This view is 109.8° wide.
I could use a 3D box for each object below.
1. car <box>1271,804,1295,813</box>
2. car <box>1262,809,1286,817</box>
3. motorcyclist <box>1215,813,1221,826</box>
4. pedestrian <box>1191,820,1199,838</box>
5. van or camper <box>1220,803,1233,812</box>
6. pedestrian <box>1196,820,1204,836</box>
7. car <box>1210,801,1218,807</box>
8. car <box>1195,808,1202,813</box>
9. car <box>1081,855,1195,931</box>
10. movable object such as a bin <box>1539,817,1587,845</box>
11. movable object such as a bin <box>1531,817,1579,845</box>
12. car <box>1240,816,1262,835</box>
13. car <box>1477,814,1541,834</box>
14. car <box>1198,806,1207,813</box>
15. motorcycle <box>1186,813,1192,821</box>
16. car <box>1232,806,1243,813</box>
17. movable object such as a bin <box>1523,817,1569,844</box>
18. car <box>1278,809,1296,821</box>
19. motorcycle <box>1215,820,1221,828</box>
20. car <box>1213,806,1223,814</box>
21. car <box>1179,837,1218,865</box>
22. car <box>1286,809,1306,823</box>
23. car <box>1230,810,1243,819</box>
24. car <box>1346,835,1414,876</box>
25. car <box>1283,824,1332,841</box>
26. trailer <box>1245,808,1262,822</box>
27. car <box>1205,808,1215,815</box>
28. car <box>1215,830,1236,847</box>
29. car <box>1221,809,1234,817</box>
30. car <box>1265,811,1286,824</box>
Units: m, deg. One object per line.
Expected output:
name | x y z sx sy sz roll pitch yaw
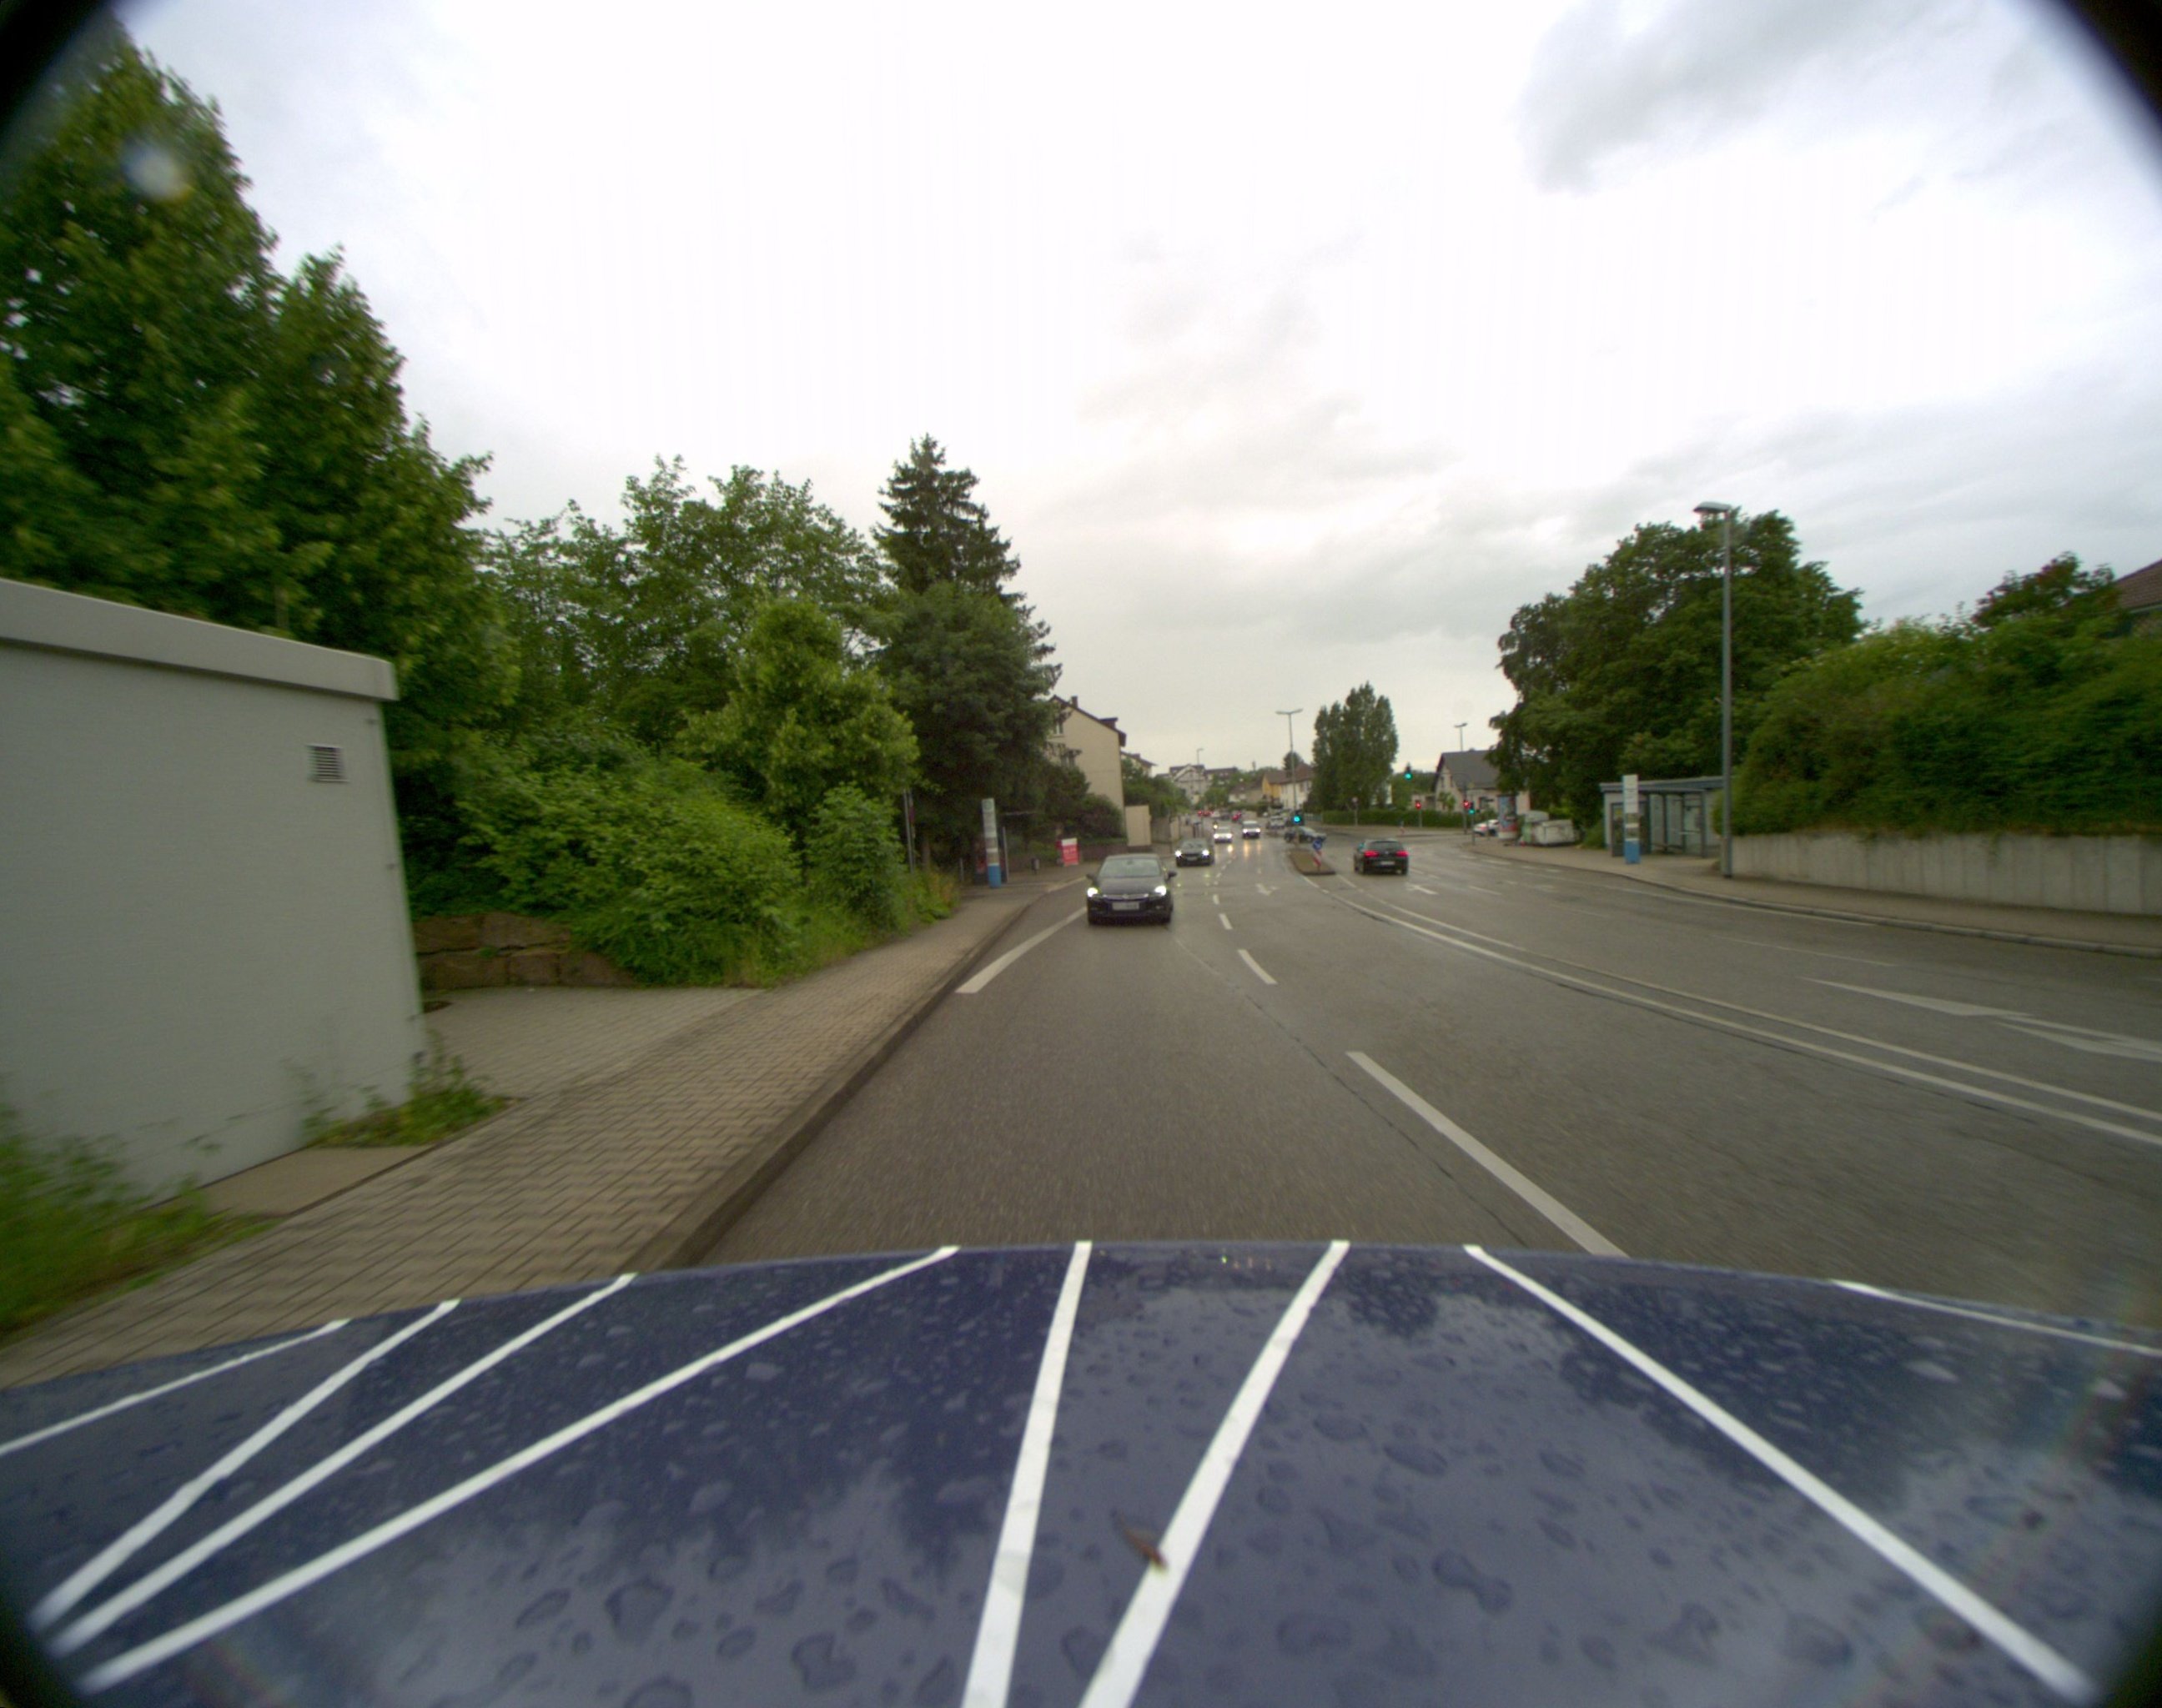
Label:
car | 38.228 -8.606 143.620 4.108 1.413 1.883 -4 4 5
car | 38.033 -8.012 149.627 4.110 1.476 1.839 1 4 -2
motorcyclist | 18.549 -4.665 103.065 0.761 1.594 0.808 -2 5 10
pedestrian | 12.996 -2.825 86.852 0.798 2.003 0.734 -3 5 11
van or camper | 34.481 -11.061 180.265 2.189 2.003 5.131 -3 5 3
pedestrian | 13.866 -3.069 88.621 0.795 1.771 1.011 -1 5 11
car | 41.098 -15.412 234.351 1.998 1.566 3.998 -3 5 5
car | 39.109 -14.572 253.135 1.836 1.522 3.998 -2 4 5
car | 1.409 0.779 16.983 1.838 1.390 4.003 -1 1 14
movable object such as a bin | 27.823 -1.319 43.888 2.060 1.506 1.345 -2 3 16
movable object such as a bin | 28.248 -1.390 45.315 2.060 1.560 1.582 -2 2 16
car | 18.681 -3.193 83.719 1.955 1.861 4.745 -2 4 8
car | 38.472 -2.721 68.339 4.647 1.520 1.913 -3 4 4
car | 30.210 -11.104 188.719 1.715 1.495 3.998 -3 4 4
motorcycle | 18.441 -6.337 129.731 0.694 1.318 2.478 -2 4 3
car | 33.909 -9.624 164.720 1.809 1.506 3.997 -2 4 2
movable object such as a bin | 28.665 -1.450 46.859 2.060 1.560 1.582 -2 2 16
car | 30.537 -5.788 112.681 1.808 1.560 4.140 -3 5 5
motorcycle | 18.595 -4.072 103.241 0.762 0.948 2.442 -2 5 10
car | 29.921 -9.607 166.314 1.839 1.548 4.768 -2 5 7
car | 6.705 -0.185 43.199 1.839 1.449 4.003 -2 0 13
car | 29.999 -5.277 105.954 1.808 1.661 4.596 -3 5 5
car | 27.759 -7.041 135.657 1.845 1.544 4.382 -2 4 6
car | 12.293 -0.005 31.480 1.895 1.479 4.236 -2 2 11
car | 21.168 -2.038 71.065 1.843 1.479 4.047 -6 5 -36
trailer | 27.231 -6.192 119.931 1.900 2.167 4.034 -3 3 3
car | 30.898 -10.226 181.641 1.857 1.456 3.998 -3 4 4
car | 14.621 -1.608 77.043 1.839 1.473 4.000 -2 3 7
car | 29.158 -8.182 151.461 1.998 1.566 3.998 -2 5 5
car | 26.587 -4.978 103.954 1.827 1.648 4.464 -2 4 3
